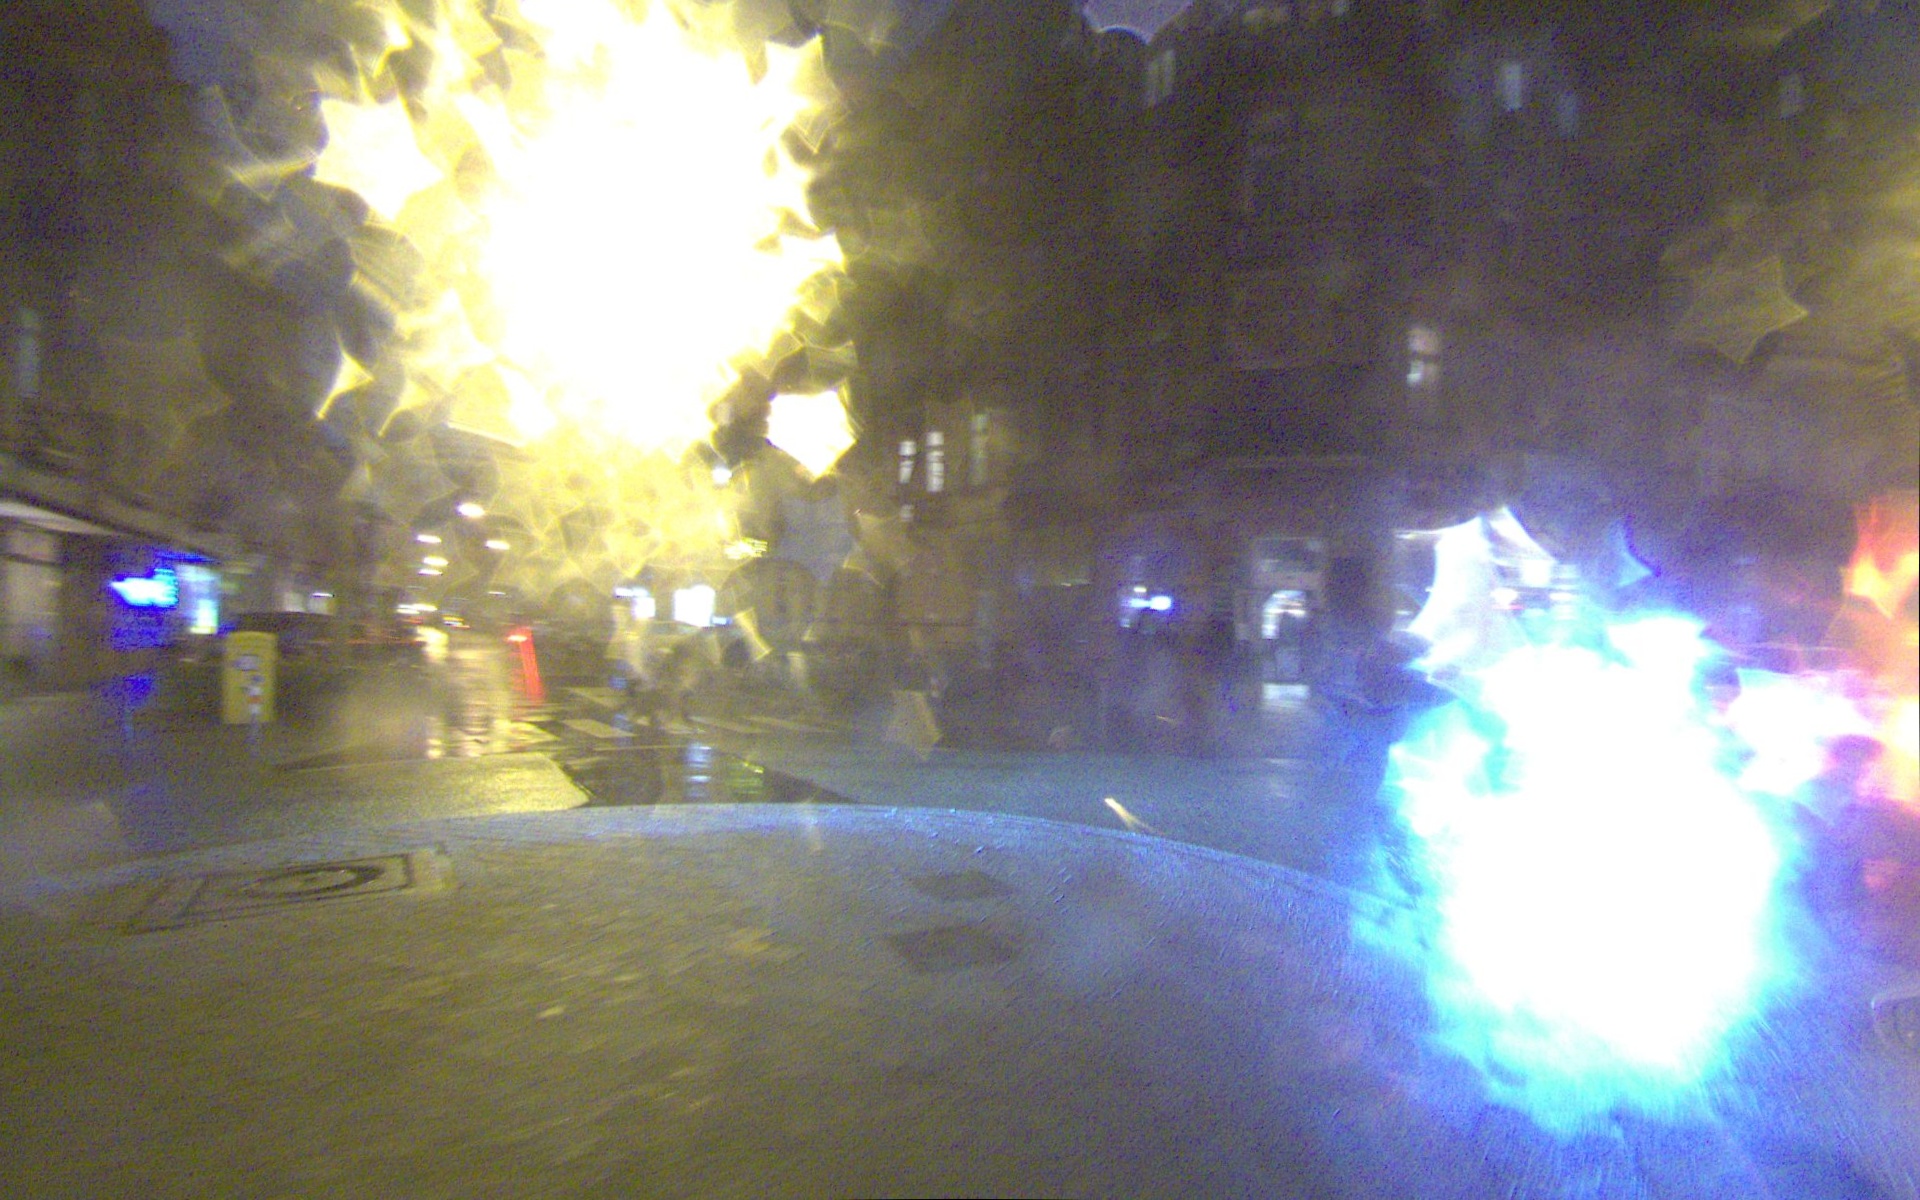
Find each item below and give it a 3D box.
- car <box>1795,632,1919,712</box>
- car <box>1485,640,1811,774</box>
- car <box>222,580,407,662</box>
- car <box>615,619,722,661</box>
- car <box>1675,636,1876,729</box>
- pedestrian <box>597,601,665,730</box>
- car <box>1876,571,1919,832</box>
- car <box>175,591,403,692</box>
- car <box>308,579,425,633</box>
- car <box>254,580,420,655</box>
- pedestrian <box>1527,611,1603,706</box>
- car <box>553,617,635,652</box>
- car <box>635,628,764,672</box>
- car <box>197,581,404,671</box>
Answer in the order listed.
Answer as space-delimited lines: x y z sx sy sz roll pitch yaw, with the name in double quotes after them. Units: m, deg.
19.262 1.470 21.260 2.754 1.530 1.579 1 0 -30 "car"
8.642 1.235 12.584 4.014 1.446 1.559 1 -2 -25 "car"
-17.369 0.562 27.264 3.948 2.040 1.986 2 1 -27 "car"
-10.426 1.420 35.928 3.418 1.422 1.580 1 -2 -28 "car"
15.384 1.478 18.916 3.976 1.483 1.578 1 2 -30 "car"
-4.940 0.977 15.134 0.931 1.882 0.796 1 -2 -17 "pedestrian"
9.608 0.839 8.816 4.571 2.018 2.101 2 -1 -45 "car"
-14.829 0.916 22.500 3.948 2.040 1.986 2 1 -27 "car"
-24.335 0.268 41.230 3.961 2.040 1.980 2 1 -35 "car"
-18.400 0.524 29.903 3.948 2.040 1.986 2 1 -27 "car"
11.876 1.144 19.737 1.002 1.789 0.801 2 1 -24 "pedestrian"
-17.959 1.699 49.314 3.626 1.649 1.580 1 -2 -28 "car"
-8.181 1.549 31.540 3.674 1.292 1.580 1 -2 -28 "car"
-16.005 0.642 24.645 3.948 2.040 1.986 2 1 -27 "car"
